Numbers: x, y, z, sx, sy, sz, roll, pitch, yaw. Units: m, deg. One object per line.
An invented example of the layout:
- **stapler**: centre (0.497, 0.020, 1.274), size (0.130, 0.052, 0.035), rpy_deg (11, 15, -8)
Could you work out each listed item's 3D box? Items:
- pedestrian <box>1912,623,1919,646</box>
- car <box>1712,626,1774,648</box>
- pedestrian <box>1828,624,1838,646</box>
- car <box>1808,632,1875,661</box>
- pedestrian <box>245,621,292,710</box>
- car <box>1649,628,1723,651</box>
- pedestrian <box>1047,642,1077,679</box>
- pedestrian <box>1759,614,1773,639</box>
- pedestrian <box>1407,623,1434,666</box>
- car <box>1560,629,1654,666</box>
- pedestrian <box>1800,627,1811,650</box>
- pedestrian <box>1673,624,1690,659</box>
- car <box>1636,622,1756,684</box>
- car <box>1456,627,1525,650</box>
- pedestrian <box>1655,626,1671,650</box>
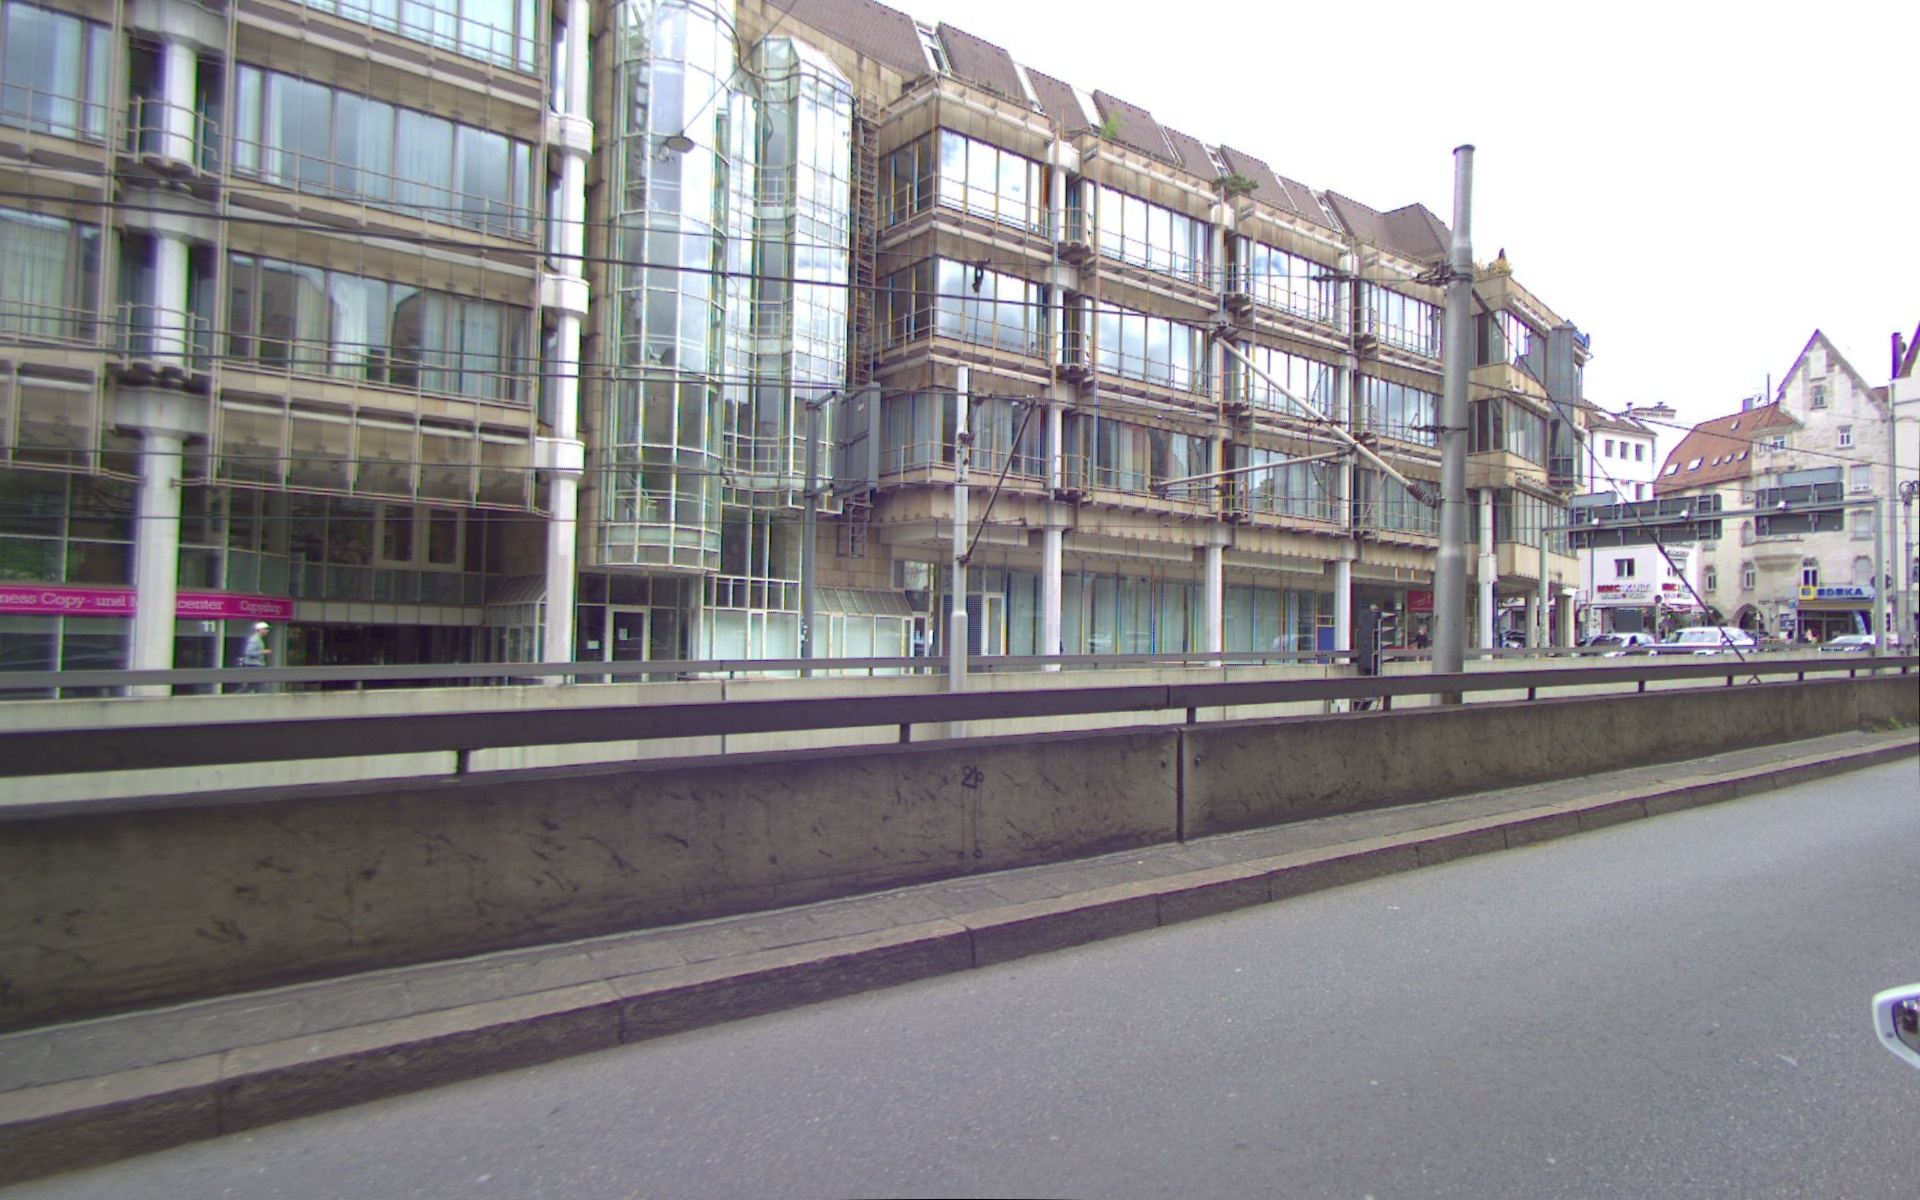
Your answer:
- **pedestrian**: centre (70.405, 2.528, 73.595), size (0.643, 1.728, 0.781), rpy_deg (1, -1, -20)
- **car**: centre (63.146, 3.004, 81.032), size (1.608, 1.706, 3.777), rpy_deg (0, -3, -11)
- **pedestrian**: centre (70.598, 2.822, 81.223), size (0.507, 1.803, 0.570), rpy_deg (1, -1, -40)
- **car**: centre (49.027, 2.557, 55.835), size (3.996, 1.521, 1.656), rpy_deg (1, -2, -31)
- **pedestrian**: centre (-14.451, 1.350, 21.021), size (0.731, 1.816, 0.727), rpy_deg (1, 0, -31)
- **car**: centre (49.447, 2.657, 68.424), size (3.982, 1.521, 1.662), rpy_deg (-1, -2, 40)
- **pedestrian**: centre (3.632, 2.133, 35.787), size (0.731, 1.282, 0.727), rpy_deg (1, -1, -31)
- **pedestrian**: centre (58.040, 1.881, 72.346), size (0.501, 1.803, 0.577), rpy_deg (0, -1, 0)
- **pedestrian**: centre (19.762, 1.897, 43.115), size (0.731, 1.835, 0.727), rpy_deg (1, 0, -31)
- **car**: centre (28.045, 2.009, 43.497), size (4.362, 1.521, 1.656), rpy_deg (1, -2, -31)
- **pedestrian**: centre (67.467, 3.054, 80.133), size (0.567, 1.803, 0.510), rpy_deg (0, -1, 33)
- **pedestrian**: centre (37.998, 2.187, 52.869), size (0.569, 1.803, 0.508), rpy_deg (1, -1, -24)
- **car**: centre (24.761, 1.744, 33.750), size (4.559, 1.867, 1.821), rpy_deg (1, 2, -35)
- **car**: centre (38.101, 2.738, 72.162), size (1.936, 1.550, 3.952), rpy_deg (1, -1, -41)
- **pedestrian**: centre (51.976, 2.822, 74.253), size (0.643, 1.728, 0.781), rpy_deg (1, -1, -20)
